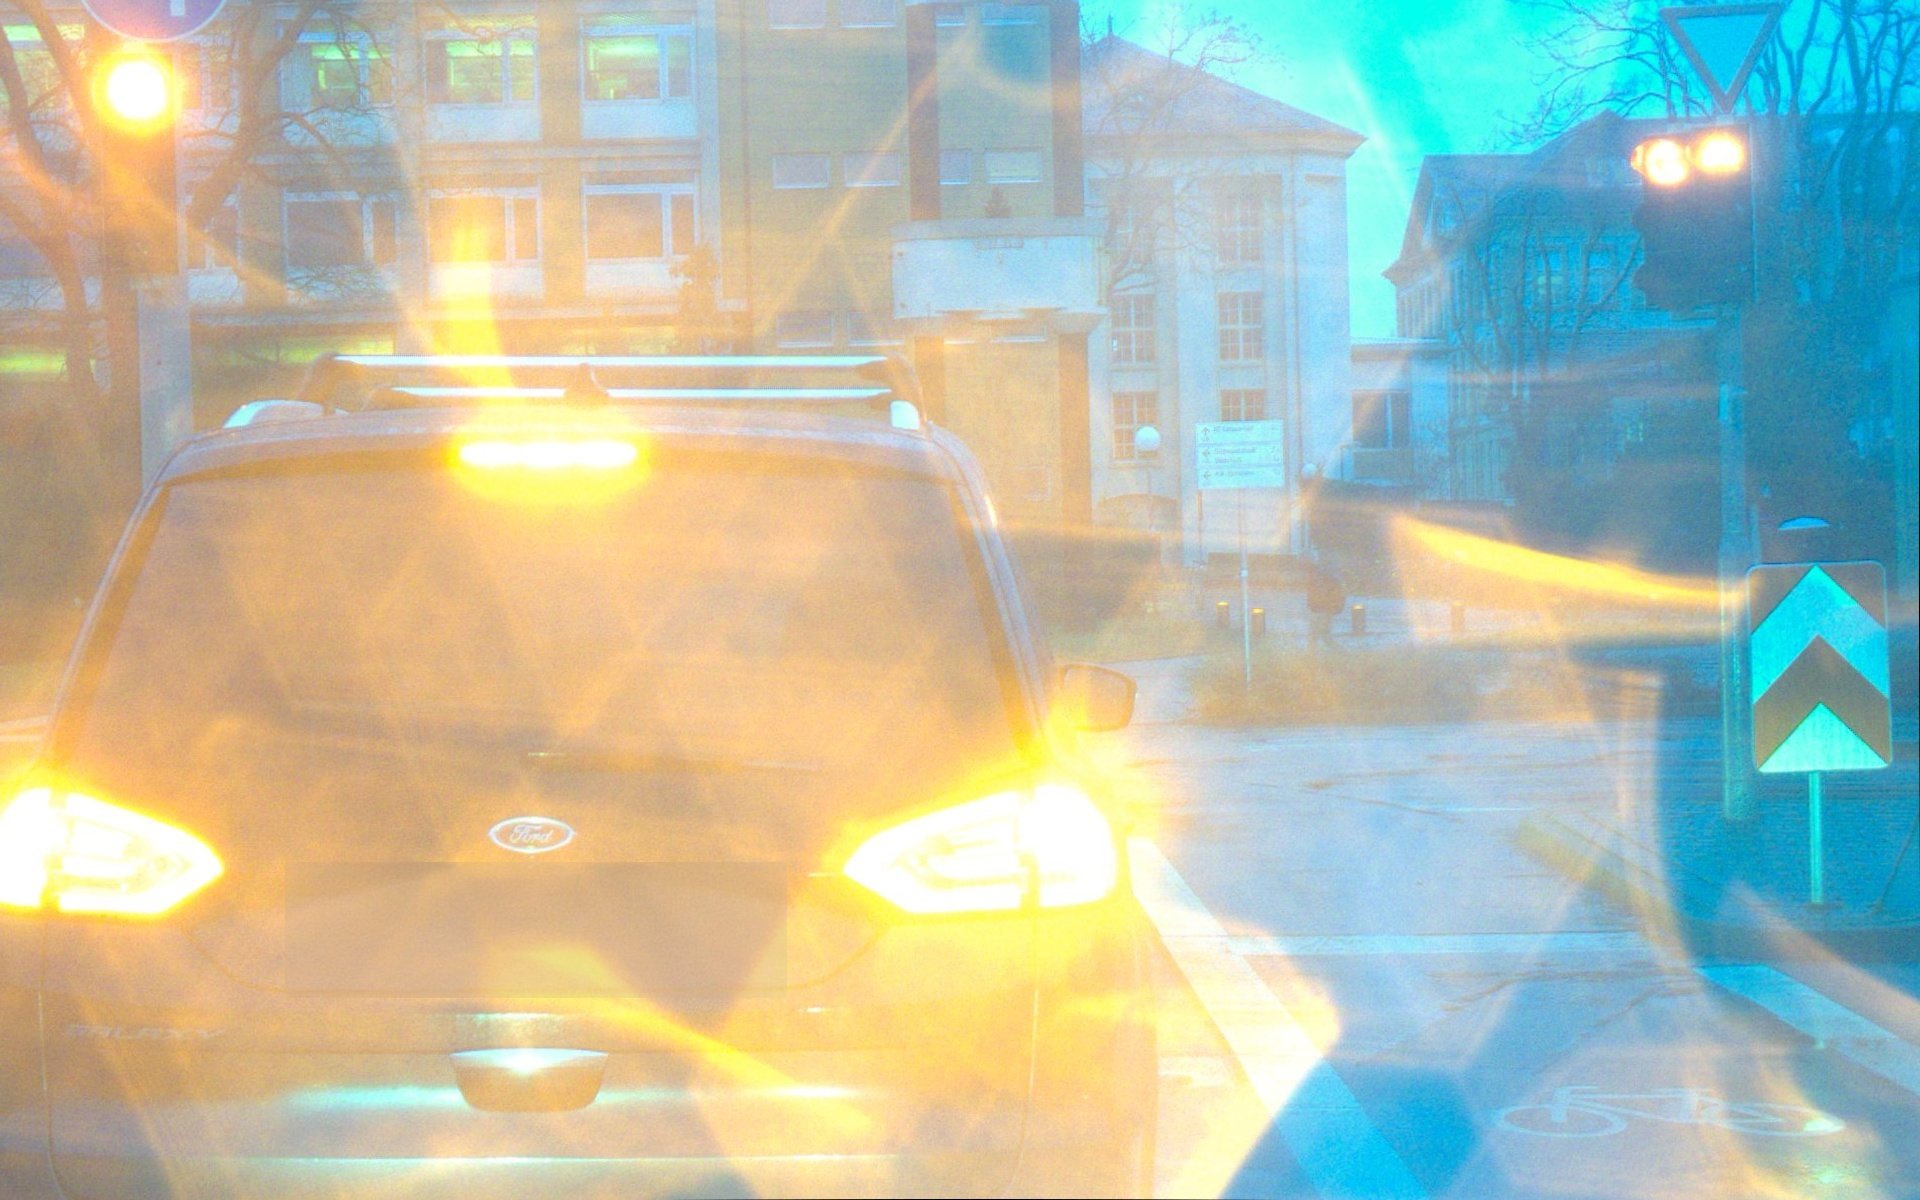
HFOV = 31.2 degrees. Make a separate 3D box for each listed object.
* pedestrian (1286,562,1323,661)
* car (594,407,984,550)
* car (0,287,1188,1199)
[{"bbox_3d":[4.425,0.145,44.095,0.432,1.266,0.441,0,-1,11],"label":"pedestrian"},{"bbox_3d":[-2.491,-1.780,50.993,5.548,2.017,1.999,0,-1,6],"label":"car"},{"bbox_3d":[-0.542,0.442,6.645,1.647,1.812,4.000,0,1,-1],"label":"car"}]
